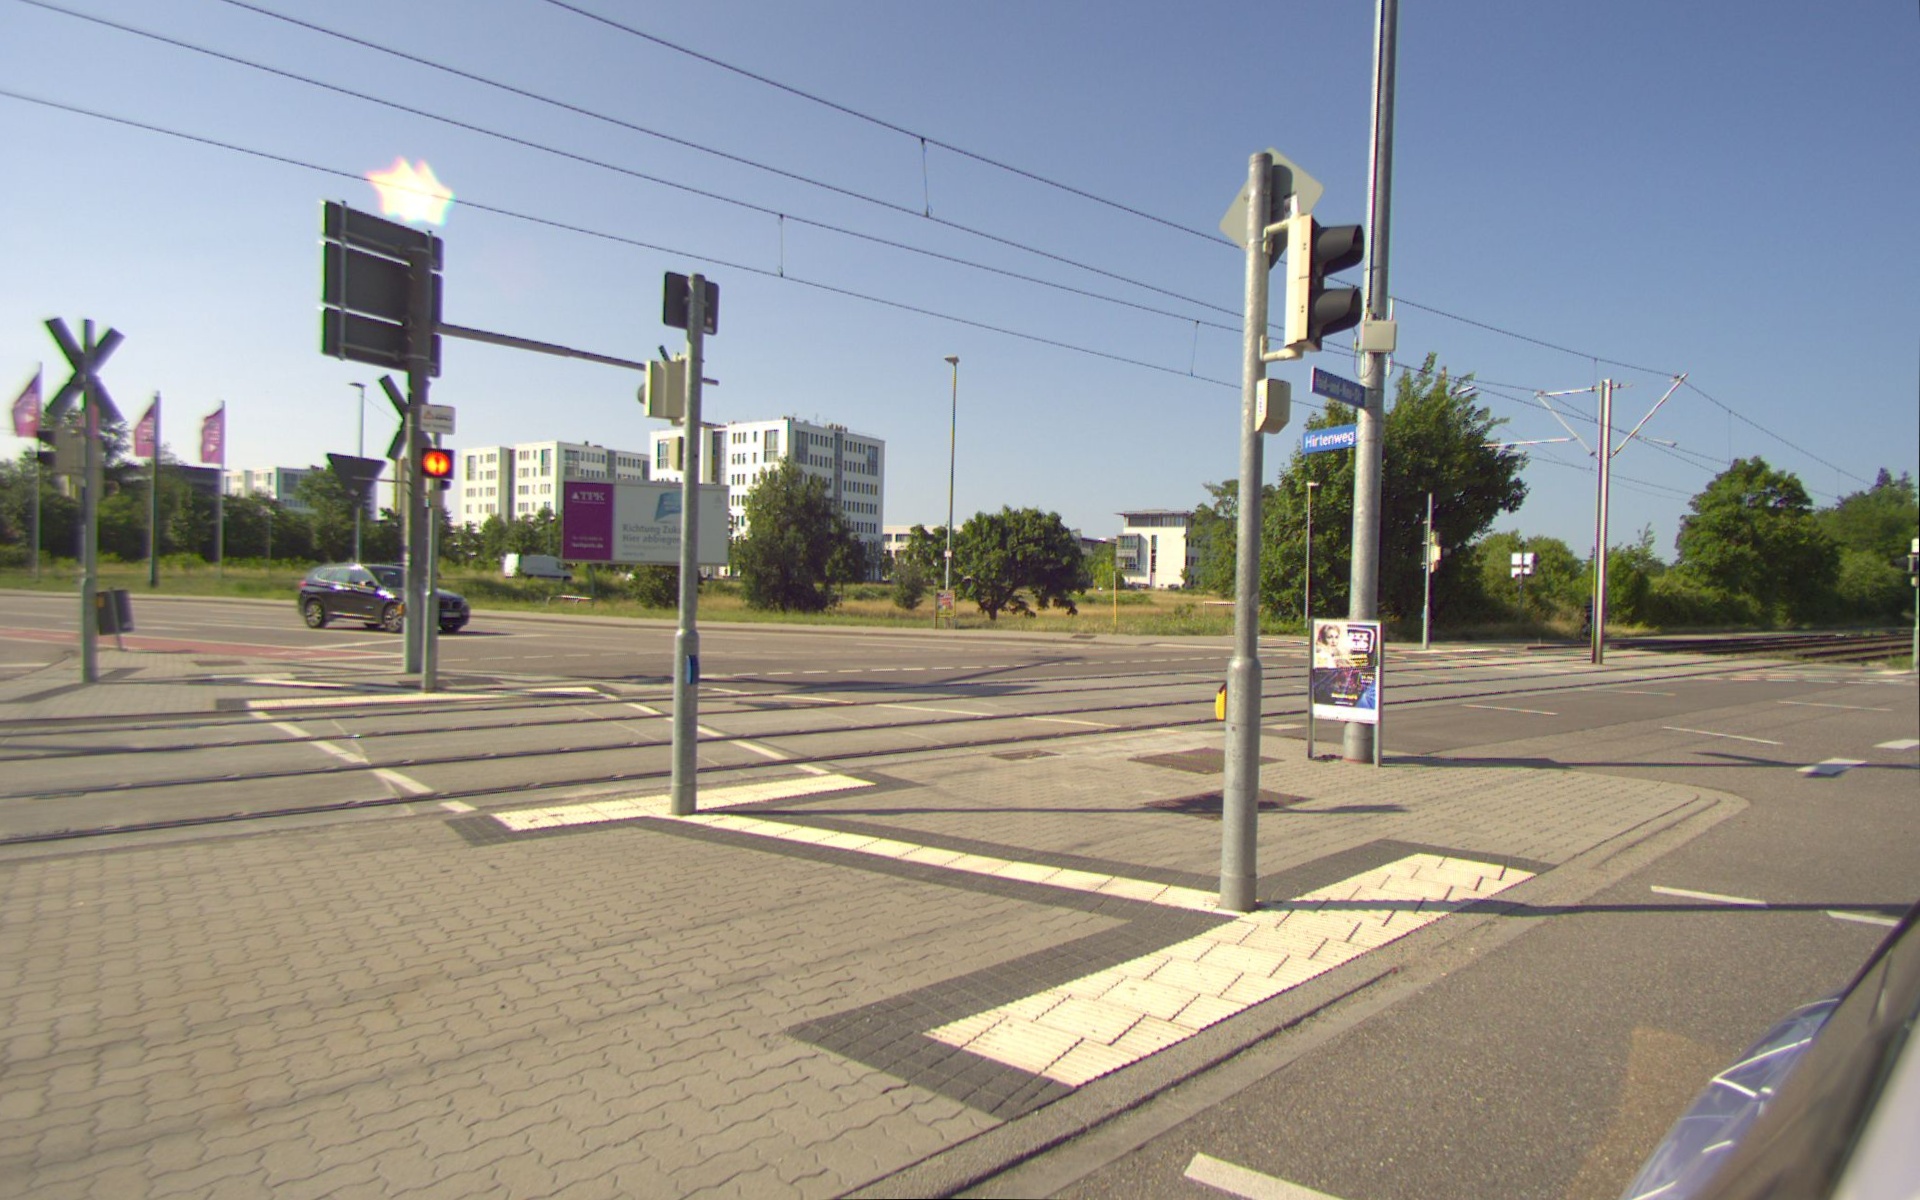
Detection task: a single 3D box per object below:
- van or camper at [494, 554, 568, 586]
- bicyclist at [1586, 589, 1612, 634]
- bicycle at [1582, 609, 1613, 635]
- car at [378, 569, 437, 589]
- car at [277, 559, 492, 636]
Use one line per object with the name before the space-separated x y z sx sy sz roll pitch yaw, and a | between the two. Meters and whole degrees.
van or camper | -40.989 -2.831 96.909 2.218 2.813 6.679 2 1 27
bicyclist | 26.737 0.473 42.333 0.705 1.830 0.707 1 1 -41
bicycle | 26.659 0.920 42.305 1.841 1.060 0.546 1 1 -41
car | -46.636 -1.768 85.540 1.979 1.616 3.966 2 1 25
car | -14.177 -0.098 24.926 4.804 1.582 2.030 3 1 21
